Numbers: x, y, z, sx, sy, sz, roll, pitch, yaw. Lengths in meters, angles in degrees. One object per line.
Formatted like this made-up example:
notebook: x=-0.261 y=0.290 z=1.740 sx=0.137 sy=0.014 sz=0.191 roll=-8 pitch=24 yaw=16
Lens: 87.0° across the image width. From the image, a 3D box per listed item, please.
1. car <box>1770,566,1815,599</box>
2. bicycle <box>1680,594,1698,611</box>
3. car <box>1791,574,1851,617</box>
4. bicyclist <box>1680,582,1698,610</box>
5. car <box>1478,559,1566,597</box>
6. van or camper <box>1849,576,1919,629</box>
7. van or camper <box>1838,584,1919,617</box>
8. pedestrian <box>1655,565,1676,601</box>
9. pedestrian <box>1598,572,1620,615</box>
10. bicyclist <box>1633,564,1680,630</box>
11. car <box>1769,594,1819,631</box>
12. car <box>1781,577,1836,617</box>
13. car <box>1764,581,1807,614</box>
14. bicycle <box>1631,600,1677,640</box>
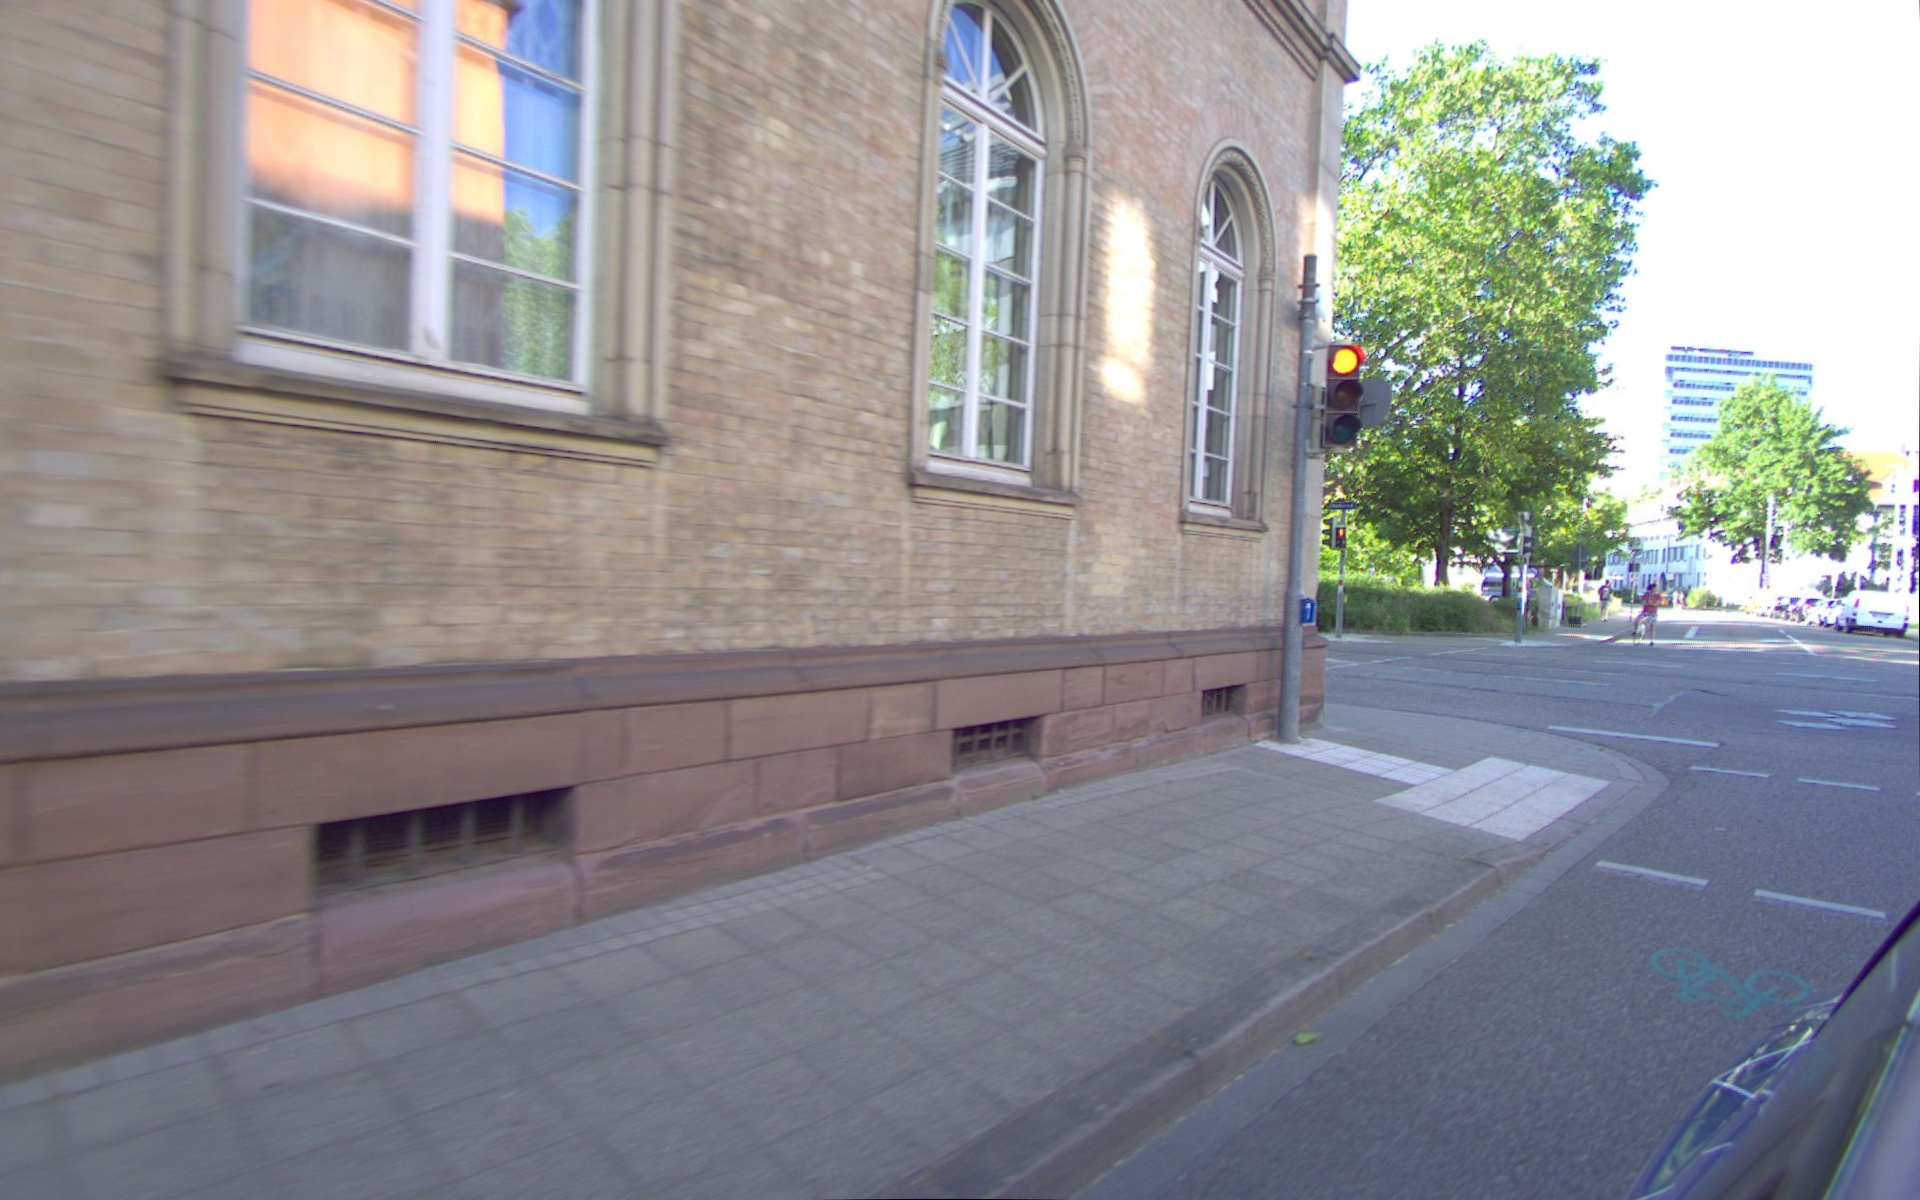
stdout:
car: x=53.860 y=-1.112 z=65.534 sx=1.989 sy=2.038 sz=3.947 roll=3 pitch=2 yaw=36
bicycle: x=44.015 y=0.150 z=61.143 sx=0.757 sy=0.961 sz=3.020 roll=3 pitch=2 yaw=34
car: x=44.357 y=-0.246 z=52.189 sx=1.989 sy=2.038 sz=3.947 roll=3 pitch=2 yaw=36
bicyclist: x=44.064 y=-0.242 z=61.169 sx=0.757 sy=1.612 sz=0.890 roll=3 pitch=2 yaw=34
car: x=34.775 y=-1.386 z=62.670 sx=4.536 sy=2.139 sz=1.976 roll=3 pitch=2 yaw=34
van or camper: x=39.576 y=0.069 z=43.078 sx=2.151 sy=2.038 sz=4.910 roll=4 pitch=3 yaw=37
van or camper: x=64.285 y=0.038 z=70.214 sx=4.689 sy=2.112 sz=1.981 roll=3 pitch=2 yaw=28
pedestrian: x=66.511 y=-1.587 z=95.459 sx=1.449 sy=3.349 sz=1.390 roll=3 pitch=2 yaw=33
pedestrian: x=28.848 y=-0.281 z=45.004 sx=0.662 sy=1.878 sz=1.015 roll=3 pitch=2 yaw=28
bicyclist: x=19.807 y=-0.096 z=28.786 sx=0.973 sy=1.830 sz=1.116 roll=3 pitch=2 yaw=38
car: x=50.128 y=0.694 z=60.904 sx=1.989 sy=2.038 sz=3.947 roll=3 pitch=2 yaw=36
car: x=46.923 y=-0.181 z=56.057 sx=1.989 sy=2.038 sz=3.947 roll=3 pitch=2 yaw=36
car: x=56.357 y=-0.165 z=69.171 sx=1.989 sy=2.039 sz=3.947 roll=3 pitch=1 yaw=36
bicycle: x=19.868 y=0.544 z=28.944 sx=0.937 sy=1.051 sz=2.966 roll=3 pitch=2 yaw=36
